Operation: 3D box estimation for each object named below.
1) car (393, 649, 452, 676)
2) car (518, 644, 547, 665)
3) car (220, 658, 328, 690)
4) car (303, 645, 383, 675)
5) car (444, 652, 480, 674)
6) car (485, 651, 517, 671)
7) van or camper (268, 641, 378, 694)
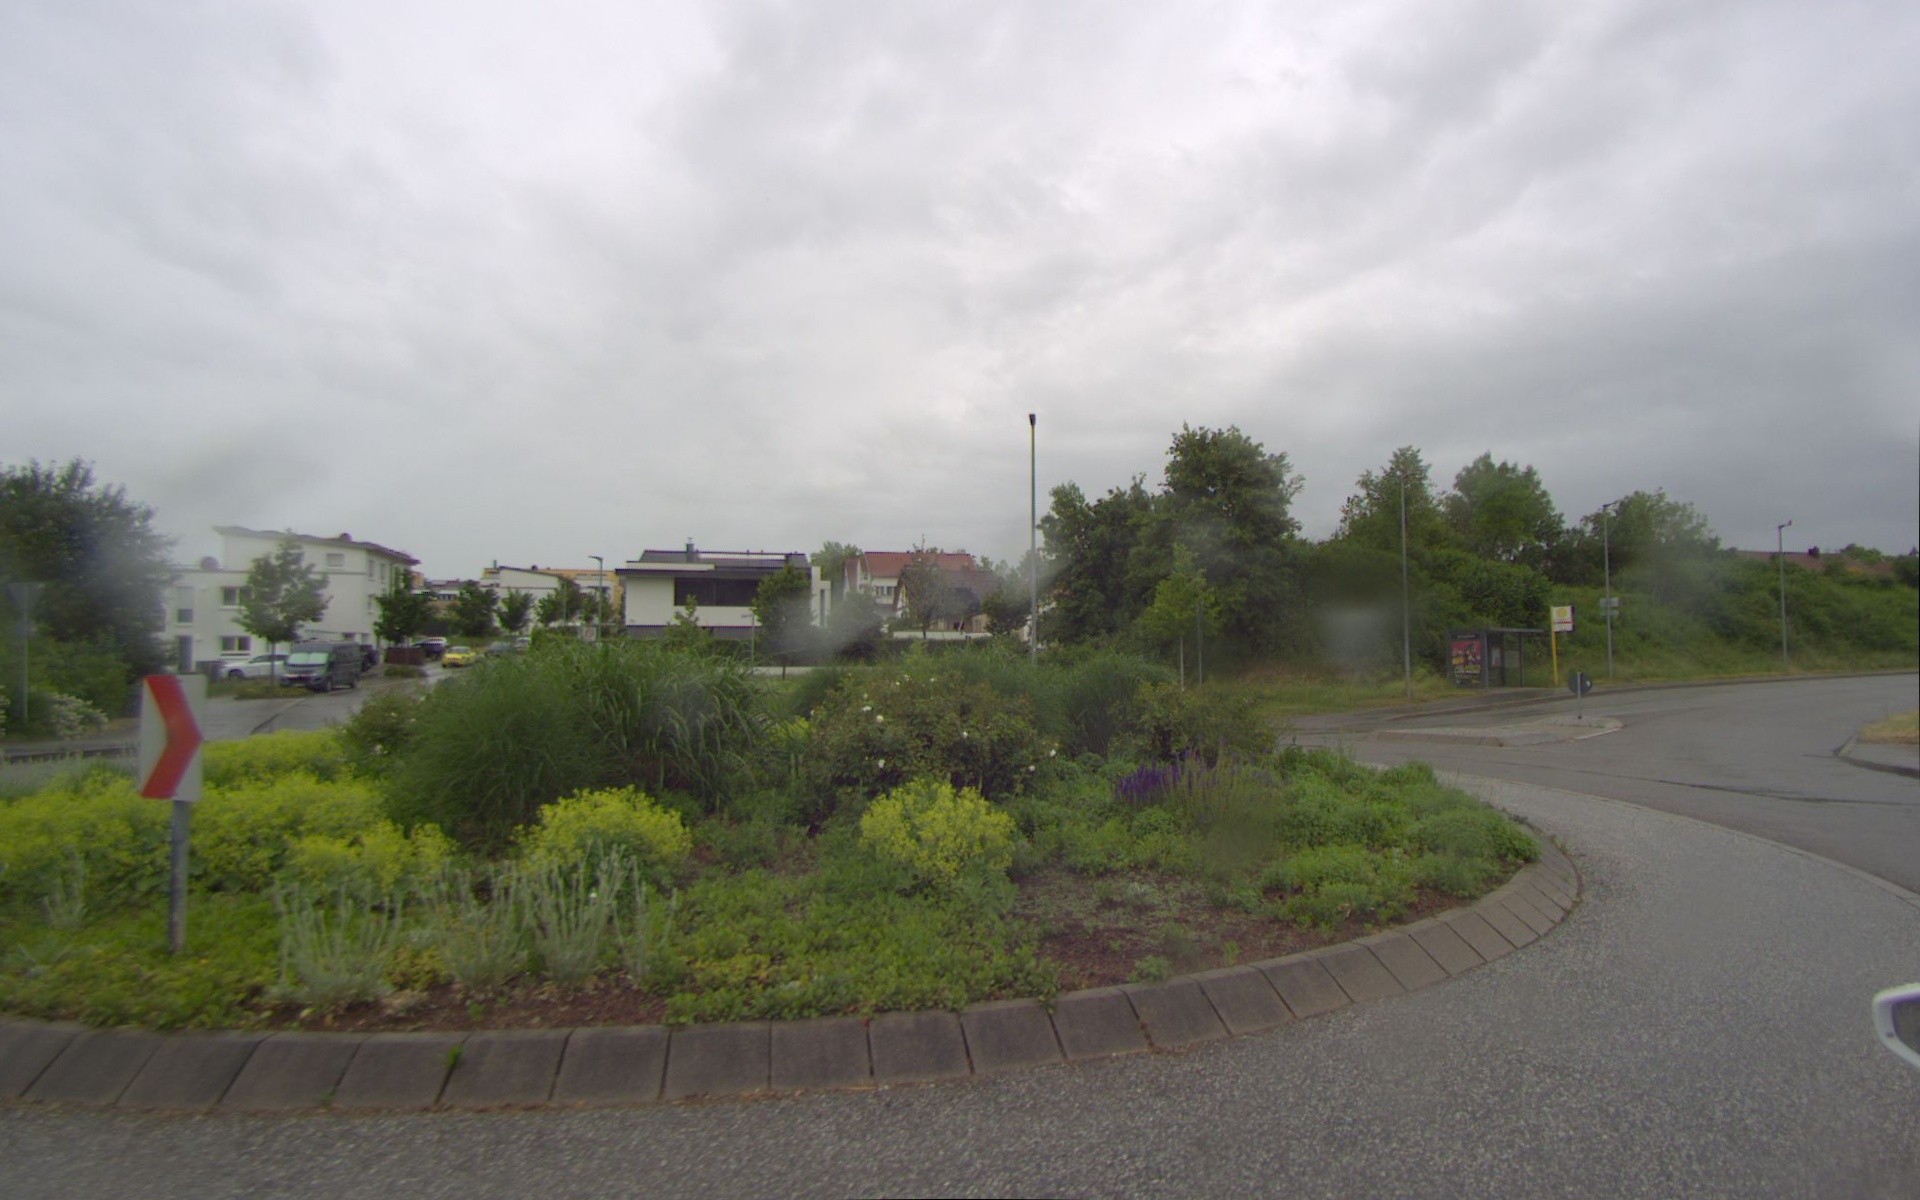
[{"bbox_3d":[-41.405,4.852,77.447,3.660,2.039,1.748,2,-5,-20],"label":"car"},{"bbox_3d":[-42.705,5.476,100.444,1.966,2.040,3.991,1,-3,-14],"label":"car"},{"bbox_3d":[-39.122,4.205,57.403,4.593,1.770,2.016,0,-3,-15],"label":"car"},{"bbox_3d":[-40.799,3.990,66.543,4.150,1.864,1.783,2,-5,-21],"label":"car"},{"bbox_3d":[-37.834,4.783,76.418,1.657,1.679,3.568,1,-3,-13],"label":"car"},{"bbox_3d":[-40.864,5.424,89.409,1.844,1.756,3.990,1,-3,-14],"label":"car"},{"bbox_3d":[-32.057,3.367,50.831,2.487,2.526,6.198,1,-3,-11],"label":"van or camper"}]
